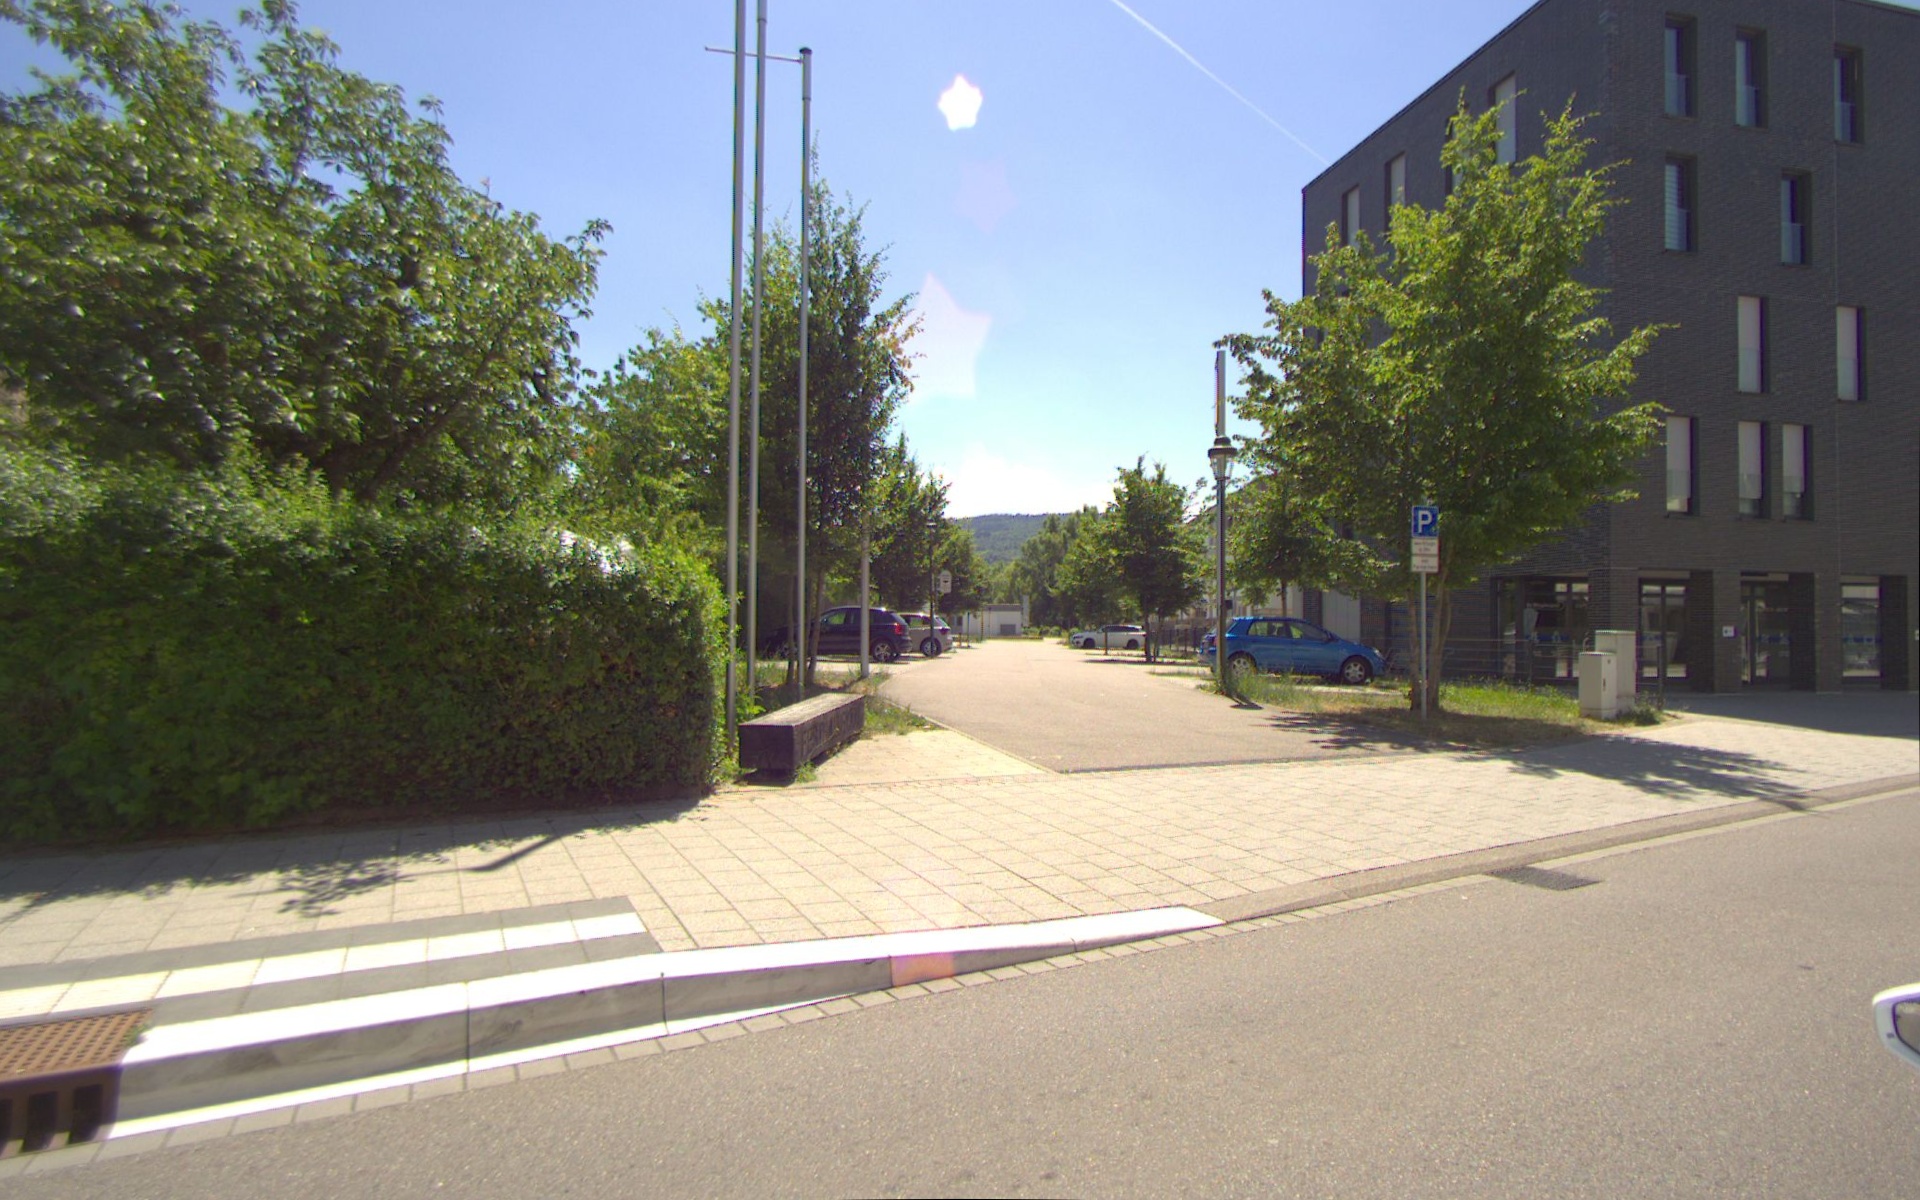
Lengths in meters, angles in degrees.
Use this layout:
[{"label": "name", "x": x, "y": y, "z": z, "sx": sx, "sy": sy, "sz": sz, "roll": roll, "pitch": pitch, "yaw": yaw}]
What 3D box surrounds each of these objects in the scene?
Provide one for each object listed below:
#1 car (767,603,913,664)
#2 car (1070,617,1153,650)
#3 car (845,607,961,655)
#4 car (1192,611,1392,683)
[{"label": "car", "x": -3.139, "y": 0.877, "z": 26.833, "sx": 3.694, "sy": 1.511, "sz": 1.691, "roll": 1, "pitch": -1, "yaw": -2}, {"label": "car", "x": 9.052, "y": 1.979, "z": 60.201, "sx": 4.689, "sy": 1.886, "sz": 2.000, "roll": 1, "pitch": -1, "yaw": 0}, {"label": "car", "x": -1.886, "y": 1.047, "z": 33.942, "sx": 3.691, "sy": 1.511, "sz": 1.692, "roll": 1, "pitch": -1, "yaw": 3}, {"label": "car", "x": 7.479, "y": 1.074, "z": 22.889, "sx": 3.999, "sy": 1.505, "sz": 1.700, "roll": 1, "pitch": -2, "yaw": 1}]
